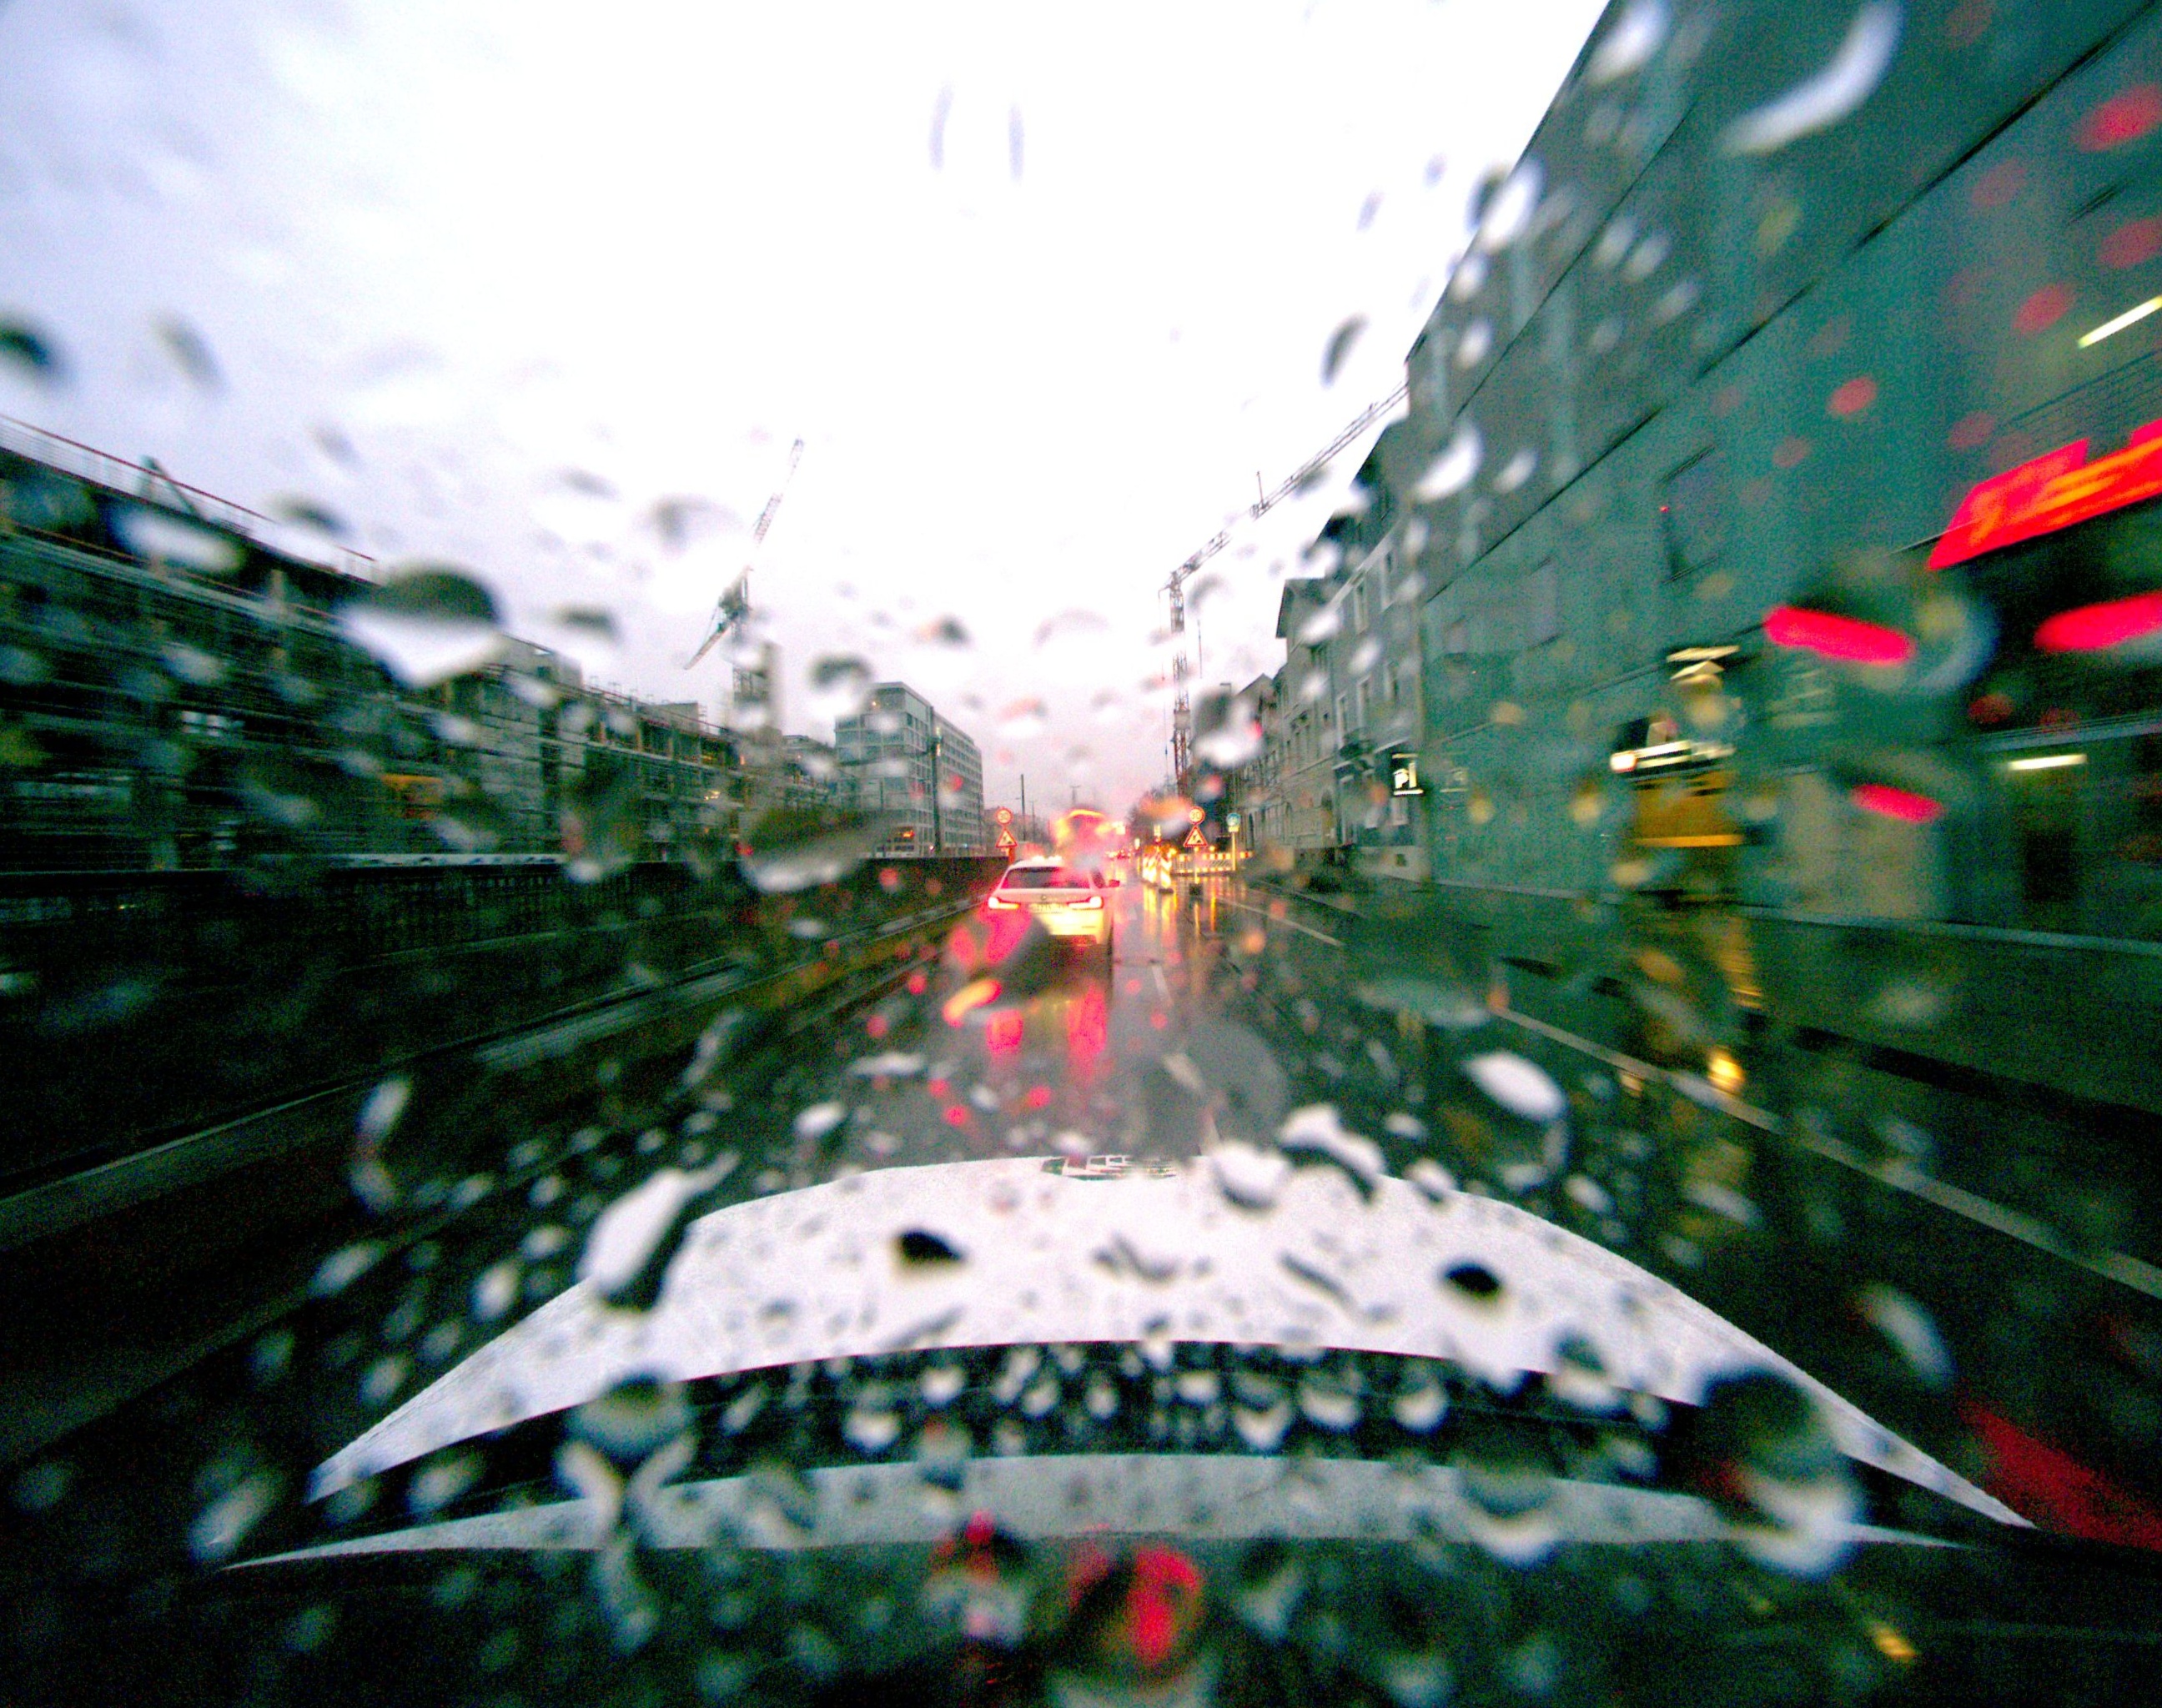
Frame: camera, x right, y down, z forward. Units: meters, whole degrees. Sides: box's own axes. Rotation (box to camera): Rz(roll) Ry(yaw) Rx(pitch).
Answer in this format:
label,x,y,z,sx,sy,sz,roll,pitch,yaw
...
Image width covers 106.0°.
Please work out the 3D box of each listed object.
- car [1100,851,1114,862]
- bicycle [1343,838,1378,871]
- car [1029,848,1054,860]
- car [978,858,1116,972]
label,x,y,z,sx,sy,sz,roll,pitch,yaw
car,3.925,0.379,122.164,1.893,1.641,4.003,-1,0,3
bicycle,11.222,0.015,32.744,0.680,1.222,1.906,-5,0,2
car,-6.743,-0.001,139.641,3.995,1.975,1.989,-1,0,-16
car,-0.362,0.840,13.532,1.844,1.465,4.950,-1,0,2
